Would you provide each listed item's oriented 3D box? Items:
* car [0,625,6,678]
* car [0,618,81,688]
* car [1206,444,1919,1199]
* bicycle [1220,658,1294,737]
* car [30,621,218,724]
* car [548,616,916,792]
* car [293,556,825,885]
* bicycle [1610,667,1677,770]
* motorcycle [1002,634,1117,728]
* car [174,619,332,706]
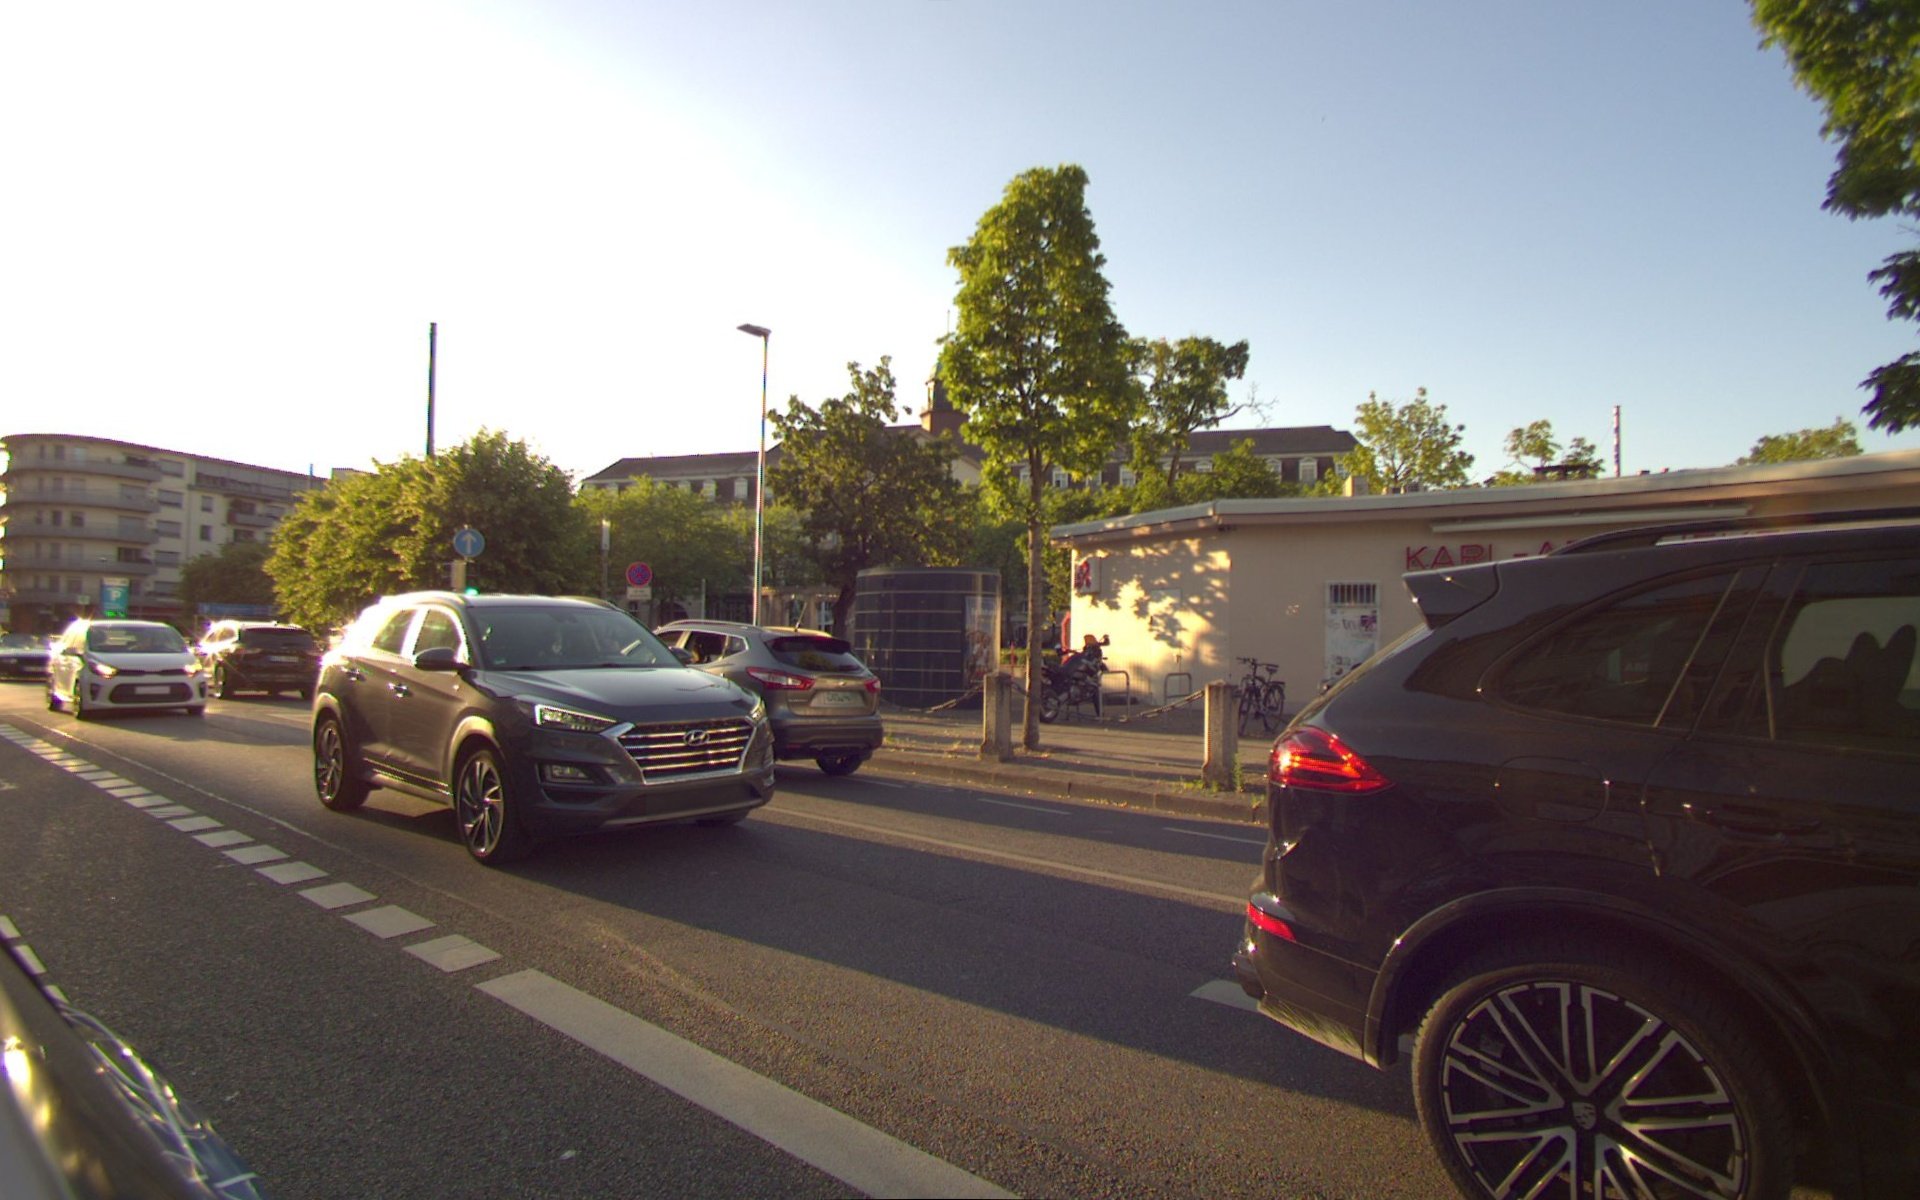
[{"bbox_3d":[-33.733,1.680,34.116,3.983,1.754,1.804,-2,-5,41],"label":"car"},{"bbox_3d":[-25.395,1.421,27.379,3.983,1.754,1.804,-2,-5,41],"label":"car"},{"bbox_3d":[2.971,0.578,1.941,4.566,1.711,1.782,-2,-3,41],"label":"car"},{"bbox_3d":[4.442,1.417,15.069,0.395,1.111,1.788,-2,-4,39],"label":"bicycle"},{"bbox_3d":[-13.714,1.127,16.534,3.983,1.483,1.696,-2,-4,41],"label":"car"},{"bbox_3d":[-2.607,1.058,11.162,3.996,1.593,1.804,-1,-6,40],"label":"car"},{"bbox_3d":[-3.093,0.708,7.368,4.257,1.711,1.804,-2,-4,41],"label":"car"},{"bbox_3d":[8.120,1.362,12.003,0.448,1.122,1.846,-1,-3,41],"label":"bicycle"},{"bbox_3d":[1.693,1.308,16.760,0.700,1.457,2.368,-2,-4,39],"label":"motorcycle"},{"bbox_3d":[-15.512,1.345,22.150,3.982,1.711,1.804,-2,-6,41],"label":"car"}]
